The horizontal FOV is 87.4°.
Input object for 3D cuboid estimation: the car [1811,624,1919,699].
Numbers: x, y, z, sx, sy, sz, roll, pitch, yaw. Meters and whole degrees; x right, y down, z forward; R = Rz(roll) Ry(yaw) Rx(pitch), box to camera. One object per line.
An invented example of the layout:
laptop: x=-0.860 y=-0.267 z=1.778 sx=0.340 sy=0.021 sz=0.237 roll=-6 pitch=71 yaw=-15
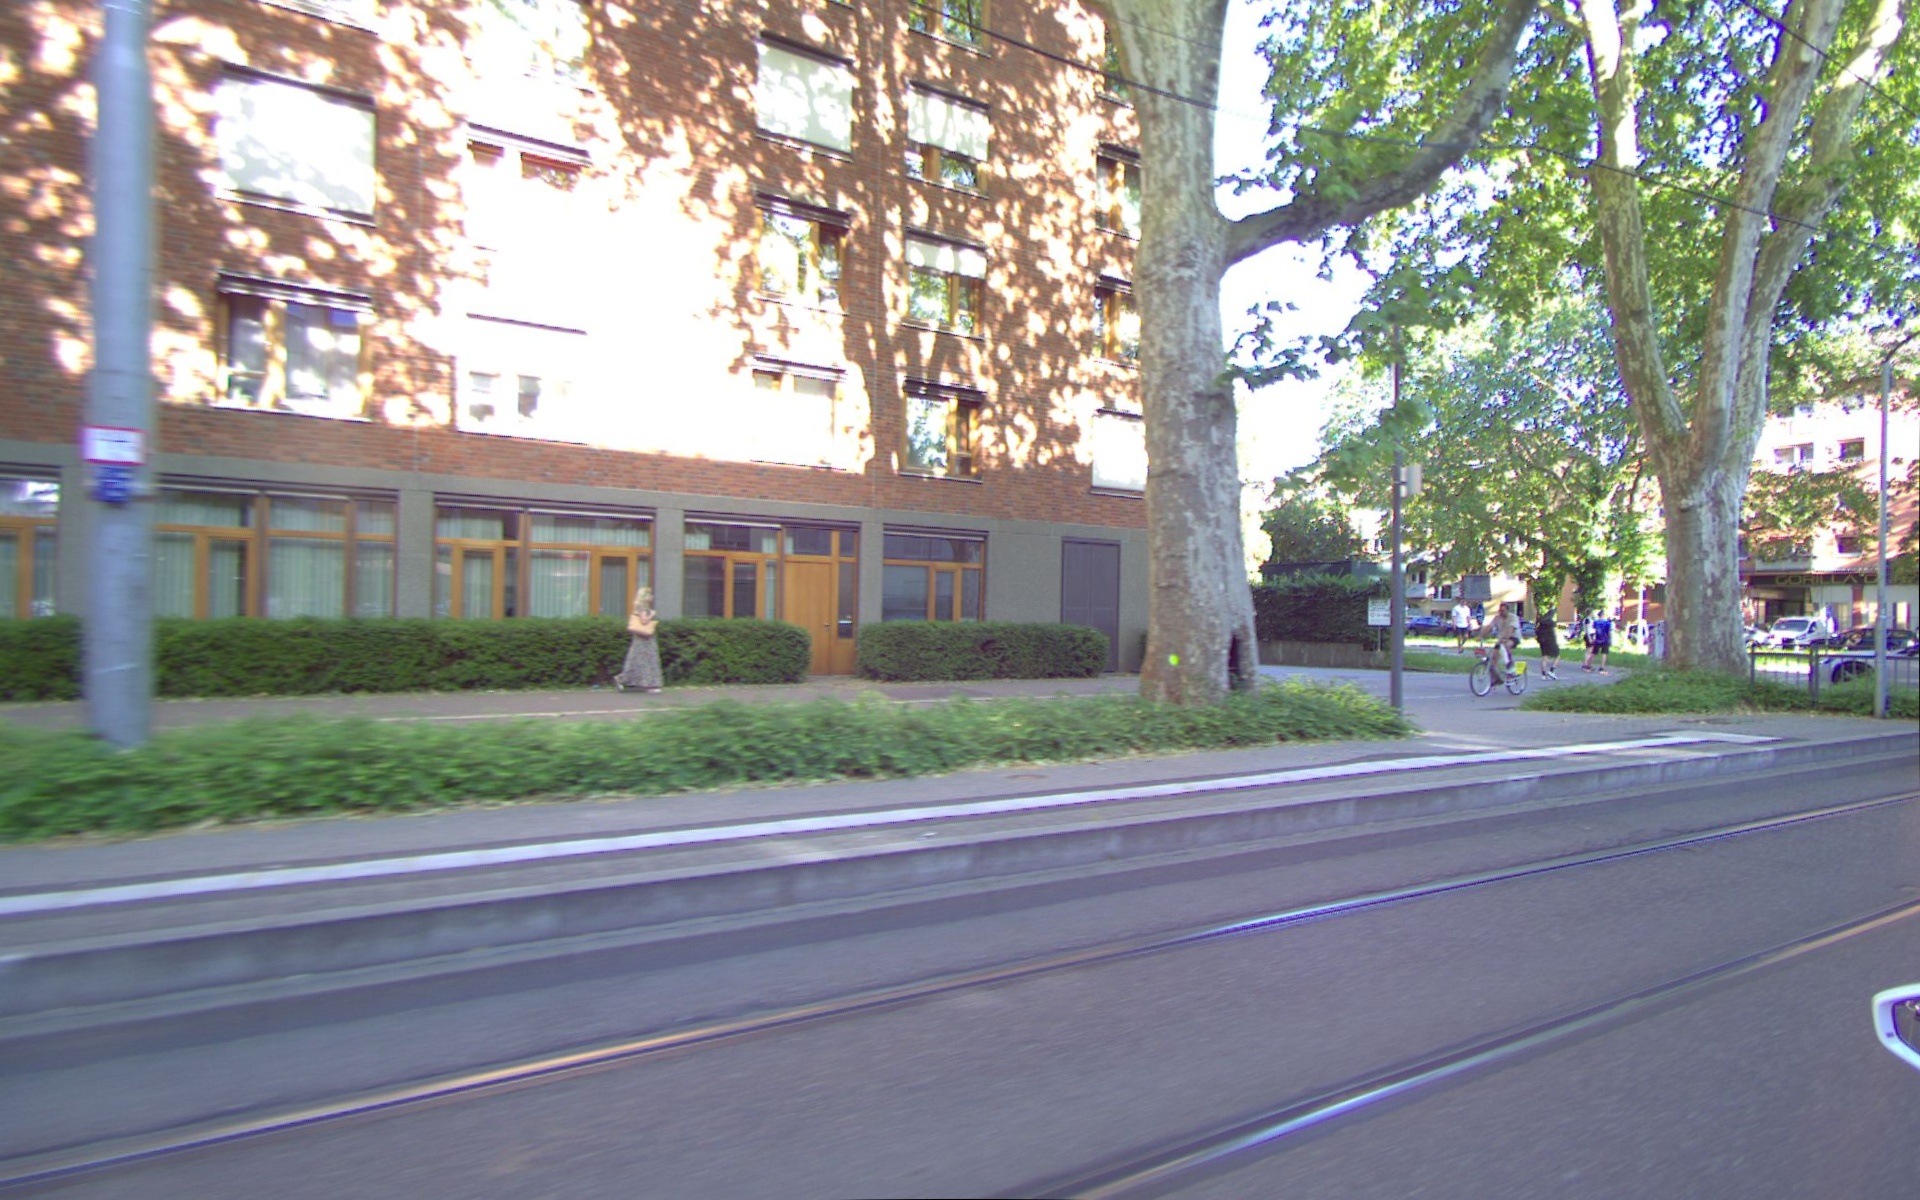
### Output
car: x=20.982 y=1.332 z=20.838 sx=1.934 sy=1.480 sz=4.735 roll=2 pitch=0 yaw=-33

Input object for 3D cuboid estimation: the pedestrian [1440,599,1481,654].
pedestrian: x=16.436 y=0.849 z=32.995 sx=0.898 sy=1.760 sz=0.845 roll=2 pitch=0 yaw=-1

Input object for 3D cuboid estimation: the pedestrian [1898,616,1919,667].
pedestrian: x=34.724 y=1.504 z=36.537 sx=0.741 sy=1.834 sz=0.642 roll=1 pitch=0 yaw=-24

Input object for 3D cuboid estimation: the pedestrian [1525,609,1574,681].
pedestrian: x=14.347 y=1.083 z=24.444 sx=0.770 sy=1.695 sz=0.706 roll=1 pitch=0 yaw=-30

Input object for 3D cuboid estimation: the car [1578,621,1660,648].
car: x=38.799 y=2.020 z=59.221 sx=1.672 sy=1.469 sz=3.683 roll=2 pitch=0 yaw=-34

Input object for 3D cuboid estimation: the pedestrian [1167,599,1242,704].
pedestrian: x=4.117 y=0.849 z=16.918 sx=0.957 sy=1.694 sz=0.735 roll=1 pitch=0 yaw=-28

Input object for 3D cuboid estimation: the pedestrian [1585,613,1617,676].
pedestrian: x=17.517 y=1.207 z=27.450 sx=0.685 sy=1.681 sz=0.561 roll=2 pitch=0 yaw=34

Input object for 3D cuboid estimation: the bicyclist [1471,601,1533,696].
bicyclist: x=10.650 y=0.941 z=19.738 sx=0.828 sy=1.811 sz=0.697 roll=1 pitch=0 yaw=-28

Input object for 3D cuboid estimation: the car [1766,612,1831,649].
car: x=48.598 y=1.766 z=58.172 sx=4.879 sy=2.030 sz=1.977 roll=2 pitch=0 yaw=-39

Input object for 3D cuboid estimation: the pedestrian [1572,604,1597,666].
pedestrian: x=17.805 y=1.000 z=28.649 sx=0.523 sy=1.728 sz=0.591 roll=2 pitch=0 yaw=29

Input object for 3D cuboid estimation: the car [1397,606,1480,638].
car: x=32.773 y=1.505 z=68.892 sx=1.982 sy=2.040 sz=4.694 roll=1 pitch=0 yaw=-37

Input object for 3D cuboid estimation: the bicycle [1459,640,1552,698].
bicycle: x=10.760 y=1.342 z=19.801 sx=1.817 sy=1.078 sz=0.712 roll=2 pitch=0 yaw=-29

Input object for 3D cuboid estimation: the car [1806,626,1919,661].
car: x=45.229 y=2.124 z=49.943 sx=1.842 sy=1.509 sz=4.497 roll=2 pitch=0 yaw=-35

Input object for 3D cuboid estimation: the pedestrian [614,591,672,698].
pedestrian: x=-4.883 y=0.666 z=15.453 sx=0.707 sy=1.594 sz=0.661 roll=1 pitch=0 yaw=-30

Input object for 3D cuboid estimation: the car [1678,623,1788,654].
car: x=41.837 y=2.058 z=54.459 sx=1.807 sy=1.469 sz=4.434 roll=2 pitch=0 yaw=-37
